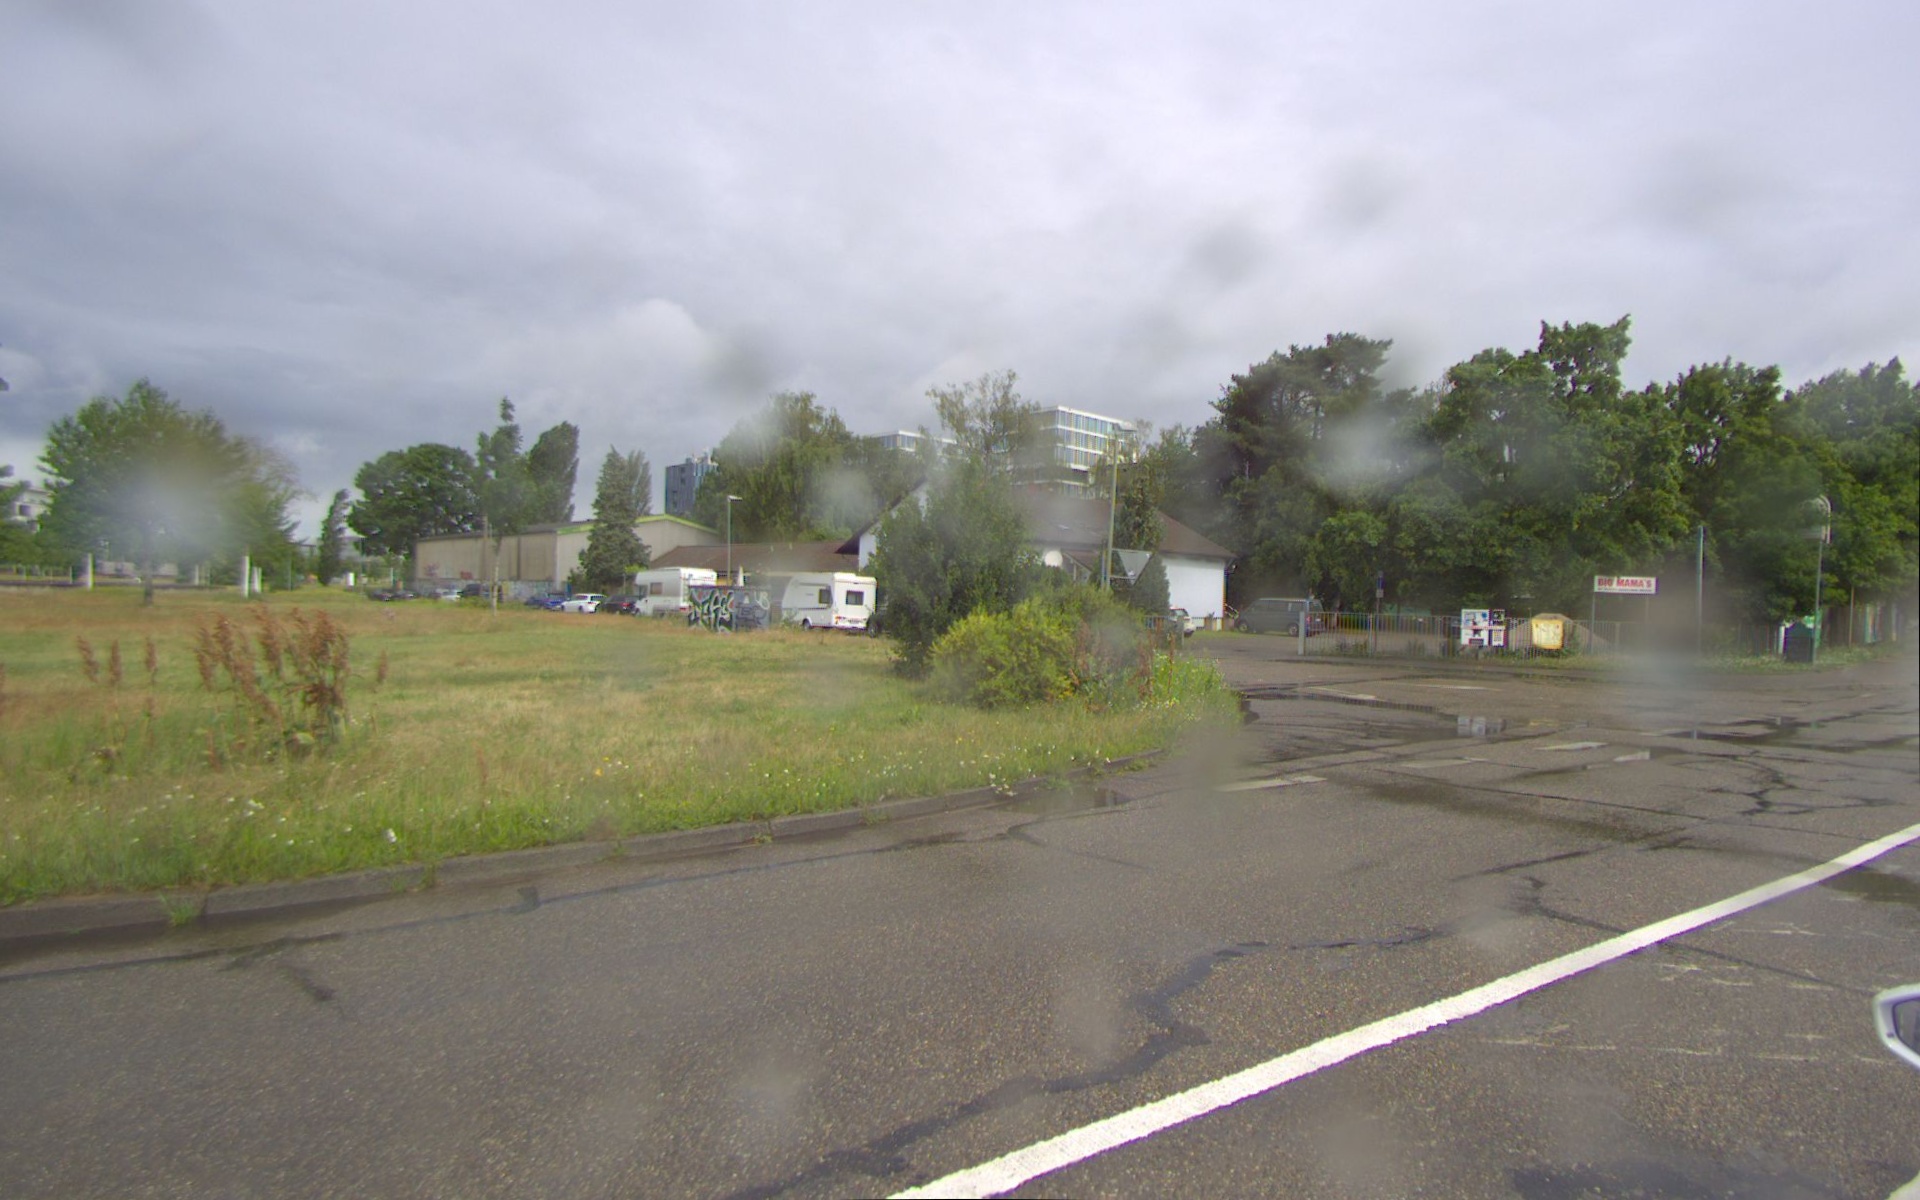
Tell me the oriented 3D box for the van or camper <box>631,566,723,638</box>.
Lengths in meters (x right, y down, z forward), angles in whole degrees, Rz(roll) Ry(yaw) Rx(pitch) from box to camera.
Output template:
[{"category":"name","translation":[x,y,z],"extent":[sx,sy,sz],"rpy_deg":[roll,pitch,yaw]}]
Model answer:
[{"category":"van or camper","translation":[-15.823,0.065,55.934],"extent":[2.634,3.794,5.779],"rpy_deg":[1,0,-41]}]

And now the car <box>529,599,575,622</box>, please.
[{"category":"car","translation":[-27.767,0.710,68.295],"extent":[1.633,1.417,3.950],"rpy_deg":[1,0,-42]}]

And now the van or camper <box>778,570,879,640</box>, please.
[{"category":"van or camper","translation":[-6.014,0.211,45.562],"extent":[2.465,2.985,4.460],"rpy_deg":[1,0,-42]}]

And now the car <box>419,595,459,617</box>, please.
[{"category":"car","translation":[-43.822,0.521,84.475],"extent":[1.985,1.751,3.950],"rpy_deg":[1,0,-42]}]

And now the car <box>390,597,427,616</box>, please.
[{"category":"car","translation":[-48.694,0.572,88.712],"extent":[1.985,1.573,3.950],"rpy_deg":[1,0,-42]}]

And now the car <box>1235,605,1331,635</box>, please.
[{"category":"car","translation":[17.090,1.059,53.281],"extent":[1.985,1.437,4.489],"rpy_deg":[2,-1,-41]}]

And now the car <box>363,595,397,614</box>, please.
[{"category":"car","translation":[-55.117,0.447,95.406],"extent":[1.985,1.728,3.950],"rpy_deg":[1,0,-42]}]

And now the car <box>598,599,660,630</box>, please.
[{"category":"car","translation":[-19.701,0.844,59.767],"extent":[1.986,1.706,3.948],"rpy_deg":[1,0,-44]}]

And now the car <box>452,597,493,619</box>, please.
[{"category":"car","translation":[-38.508,0.642,79.287],"extent":[3.945,1.662,1.640],"rpy_deg":[1,0,44]}]

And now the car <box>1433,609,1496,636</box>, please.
[{"category":"car","translation":[28.734,1.284,57.155],"extent":[1.973,1.437,4.516],"rpy_deg":[1,-1,44]}]

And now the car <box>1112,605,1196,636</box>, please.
[{"category":"car","translation":[9.129,0.943,47.451],"extent":[1.378,1.333,3.876],"rpy_deg":[1,0,-40]}]

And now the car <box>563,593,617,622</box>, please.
[{"category":"car","translation":[-23.594,0.485,64.042],"extent":[1.868,1.726,3.950],"rpy_deg":[1,0,-42]}]
